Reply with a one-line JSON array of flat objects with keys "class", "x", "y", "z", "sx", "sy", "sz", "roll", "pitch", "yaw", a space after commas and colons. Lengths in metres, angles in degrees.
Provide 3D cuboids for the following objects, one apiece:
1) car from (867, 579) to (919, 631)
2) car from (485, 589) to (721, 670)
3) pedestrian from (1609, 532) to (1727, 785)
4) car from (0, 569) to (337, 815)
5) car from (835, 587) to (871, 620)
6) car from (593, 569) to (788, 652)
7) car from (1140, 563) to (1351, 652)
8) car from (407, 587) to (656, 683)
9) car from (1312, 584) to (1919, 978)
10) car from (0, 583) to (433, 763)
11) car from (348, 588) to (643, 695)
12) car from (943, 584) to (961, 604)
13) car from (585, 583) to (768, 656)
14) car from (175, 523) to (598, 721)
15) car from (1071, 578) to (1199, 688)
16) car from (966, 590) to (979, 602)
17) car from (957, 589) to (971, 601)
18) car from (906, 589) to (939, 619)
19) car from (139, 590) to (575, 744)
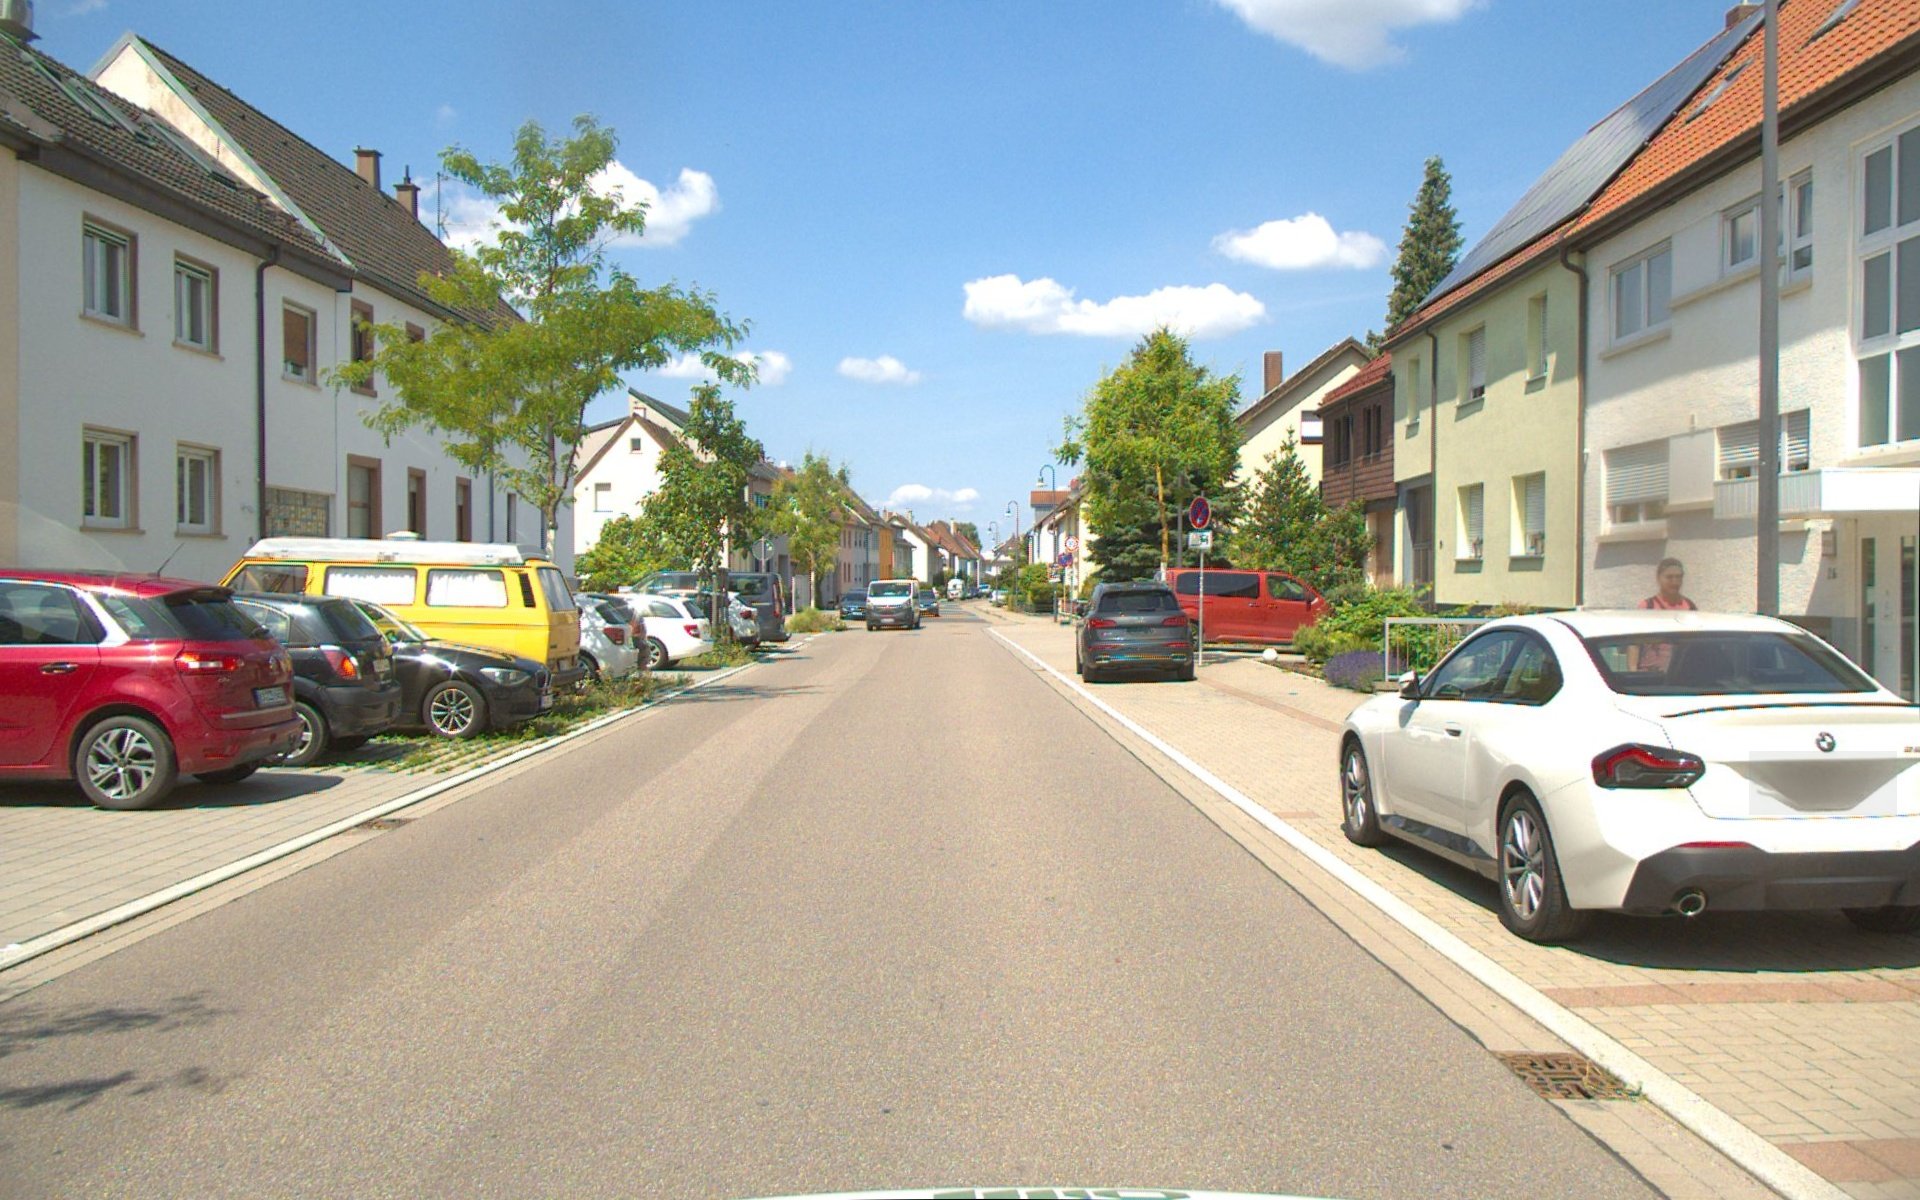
[{"class": "car", "x": -2.639, "y": 0.192, "z": 65.973, "sx": 1.982, "sy": 1.984, "sz": 4.897, "roll": 0, "pitch": 0, "yaw": -2}, {"class": "car", "x": -6.965, "y": 0.565, "z": 32.530, "sx": 4.206, "sy": 1.493, "sz": 1.774, "roll": 1, "pitch": -1, "yaw": 1}, {"class": "pedestrian", "x": 5.139, "y": 0.417, "z": 12.038, "sx": 0.546, "sy": 1.779, "sz": 0.673, "roll": -1, "pitch": -1, "yaw": 0}, {"class": "car", "x": -6.994, "y": 0.602, "z": 12.073, "sx": 4.167, "sy": 1.639, "sz": 1.842, "roll": 1, "pitch": 0, "yaw": -2}, {"class": "car", "x": -5.612, "y": 0.163, "z": 87.079, "sx": 1.780, "sy": 1.458, "sz": 4.137, "roll": 4, "pitch": 1, "yaw": -3}, {"class": "car", "x": -6.785, "y": 0.264, "z": 42.047, "sx": 4.604, "sy": 1.957, "sz": 1.937, "roll": 1, "pitch": -1, "yaw": -1}, {"class": "car", "x": 6.598, "y": 0.177, "z": 38.558, "sx": 4.526, "sy": 1.927, "sz": 2.020, "roll": 1, "pitch": -1, "yaw": -2}, {"class": "car", "x": -6.997, "y": 0.568, "z": 27.370, "sx": 3.807, "sy": 1.493, "sz": 1.655, "roll": 1, "pitch": -1, "yaw": -9}, {"class": "car", "x": 3.285, "y": 0.680, "z": 8.567, "sx": 1.795, "sy": 1.491, "sz": 4.517, "roll": 0, "pitch": 0, "yaw": -3}, {"class": "car", "x": -6.871, "y": 0.617, "z": 14.866, "sx": 3.716, "sy": 1.485, "sz": 1.754, "roll": 1, "pitch": 0, "yaw": -4}, {"class": "car", "x": -6.783, "y": 0.600, "z": 24.542, "sx": 3.996, "sy": 1.493, "sz": 1.750, "roll": 1, "pitch": 0, "yaw": -9}, {"class": "car", "x": -0.968, "y": -0.743, "z": 206.064, "sx": 2.002, "sy": 2.352, "sz": 3.772, "roll": 1, "pitch": -1, "yaw": 3}, {"class": "car", "x": -6.701, "y": 0.465, "z": 39.414, "sx": 4.101, "sy": 1.596, "sz": 1.772, "roll": 1, "pitch": -1, "yaw": -4}, {"class": "car", "x": -6.829, "y": 0.250, "z": 20.057, "sx": 4.416, "sy": 2.215, "sz": 1.925, "roll": 1, "pitch": 0, "yaw": -1}, {"class": "car", "x": 2.959, "y": 0.502, "z": 28.782, "sx": 1.825, "sy": 1.664, "sz": 4.447, "roll": -2, "pitch": 1, "yaw": 2}, {"class": "car", "x": 1.771, "y": -0.602, "z": 235.635, "sx": 1.656, "sy": 1.689, "sz": 3.772, "roll": 1, "pitch": 0, "yaw": 3}, {"class": "car", "x": 0.545, "y": -0.680, "z": 228.147, "sx": 1.656, "sy": 1.530, "sz": 3.772, "roll": 1, "pitch": 0, "yaw": 3}, {"class": "car", "x": -2.032, "y": 0.187, "z": 90.118, "sx": 1.727, "sy": 1.549, "sz": 4.048, "roll": -2, "pitch": 0, "yaw": -2}, {"class": "car", "x": -6.250, "y": 0.674, "z": 17.463, "sx": 3.928, "sy": 1.485, "sz": 1.755, "roll": 1, "pitch": 0, "yaw": -1}]
